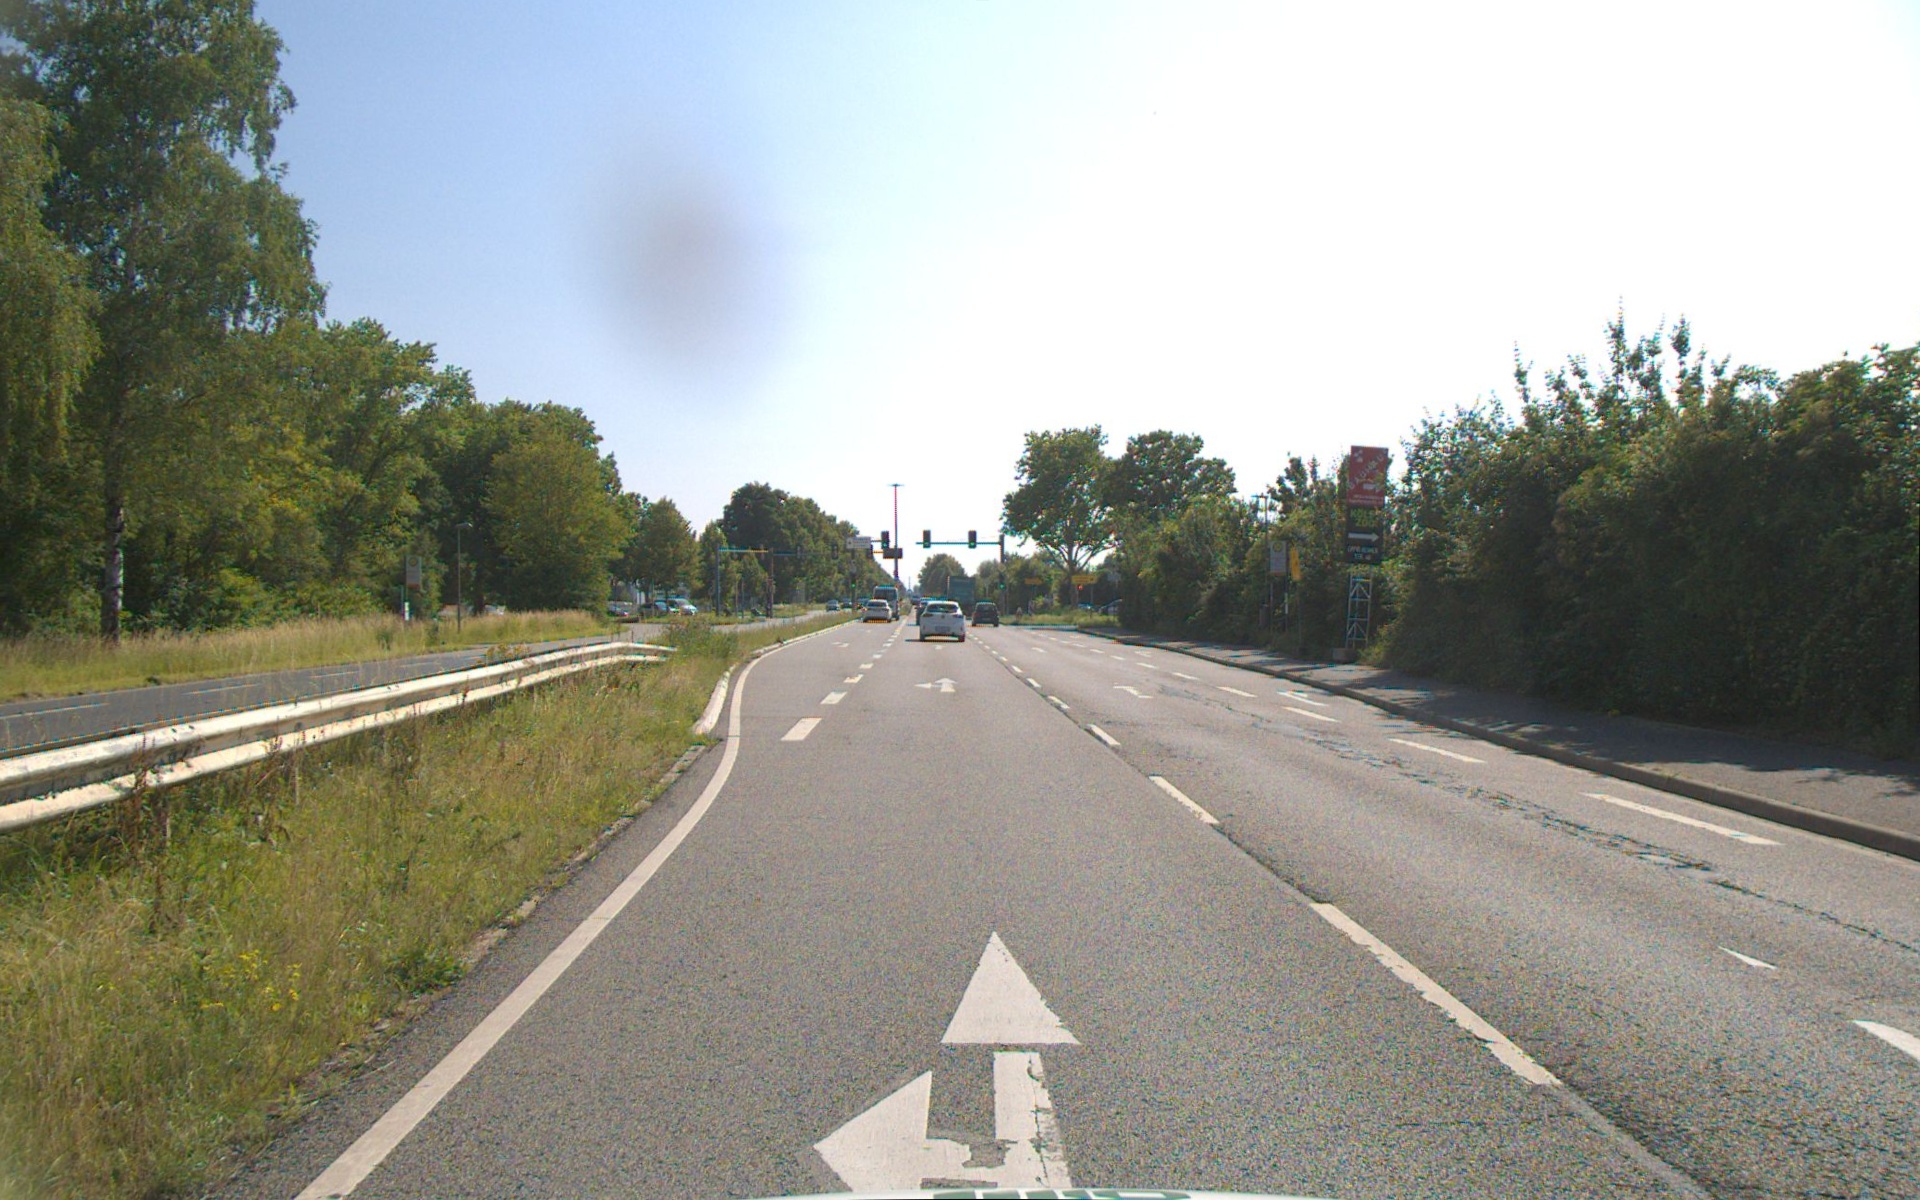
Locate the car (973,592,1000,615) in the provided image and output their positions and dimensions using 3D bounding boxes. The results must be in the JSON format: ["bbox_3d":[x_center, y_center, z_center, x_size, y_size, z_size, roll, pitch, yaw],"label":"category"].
[{"bbox_3d":[1.631,0.211,101.726,1.540,1.439,3.277,0,0,-1],"label":"car"}]

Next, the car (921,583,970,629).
[{"bbox_3d":[-0.550,0.196,61.475,1.762,1.580,4.000,0,1,-1],"label":"car"}]

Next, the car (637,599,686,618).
[{"bbox_3d":[-27.287,0.747,151.208,4.180,1.634,1.999,-1,1,34],"label":"car"}]

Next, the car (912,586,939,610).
[{"bbox_3d":[-2.070,-0.109,99.470,1.540,1.439,3.276,1,0,-1],"label":"car"}]

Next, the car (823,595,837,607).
[{"bbox_3d":[-16.908,0.103,215.482,1.456,1.439,3.761,-3,1,-1],"label":"car"}]

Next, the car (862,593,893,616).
[{"bbox_3d":[-5.399,0.280,108.904,1.775,1.490,4.970,0,0,0],"label":"car"}]

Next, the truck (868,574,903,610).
[{"bbox_3d":[-5.370,-0.613,120.359,2.325,2.430,6.040,-1,1,-1],"label":"truck"}]

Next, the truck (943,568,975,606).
[{"bbox_3d":[-0.168,-1.285,160.008,2.833,3.488,9.167,-1,1,-1],"label":"truck"}]

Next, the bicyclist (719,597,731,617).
[{"bbox_3d":[-18.221,0.544,128.175,0.829,1.544,0.747,0,1,4],"label":"bicyclist"}]

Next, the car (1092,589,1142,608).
[{"bbox_3d":[12.758,-0.102,134.606,3.669,1.495,1.784,0,0,26],"label":"car"}]

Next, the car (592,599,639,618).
[{"bbox_3d":[-32.188,0.783,154.521,4.180,1.634,1.999,-1,1,34],"label":"car"}]

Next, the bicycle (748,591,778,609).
[{"bbox_3d":[-18.939,-0.020,158.934,2.737,1.699,1.135,-1,0,26],"label":"bicycle"}]

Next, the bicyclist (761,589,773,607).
[{"bbox_3d":[-18.542,-0.188,158.755,0.845,1.647,0.757,0,0,26],"label":"bicyclist"}]

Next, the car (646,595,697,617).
[{"bbox_3d":[-27.025,0.551,154.903,4.559,1.984,1.994,-1,0,34],"label":"car"}]
